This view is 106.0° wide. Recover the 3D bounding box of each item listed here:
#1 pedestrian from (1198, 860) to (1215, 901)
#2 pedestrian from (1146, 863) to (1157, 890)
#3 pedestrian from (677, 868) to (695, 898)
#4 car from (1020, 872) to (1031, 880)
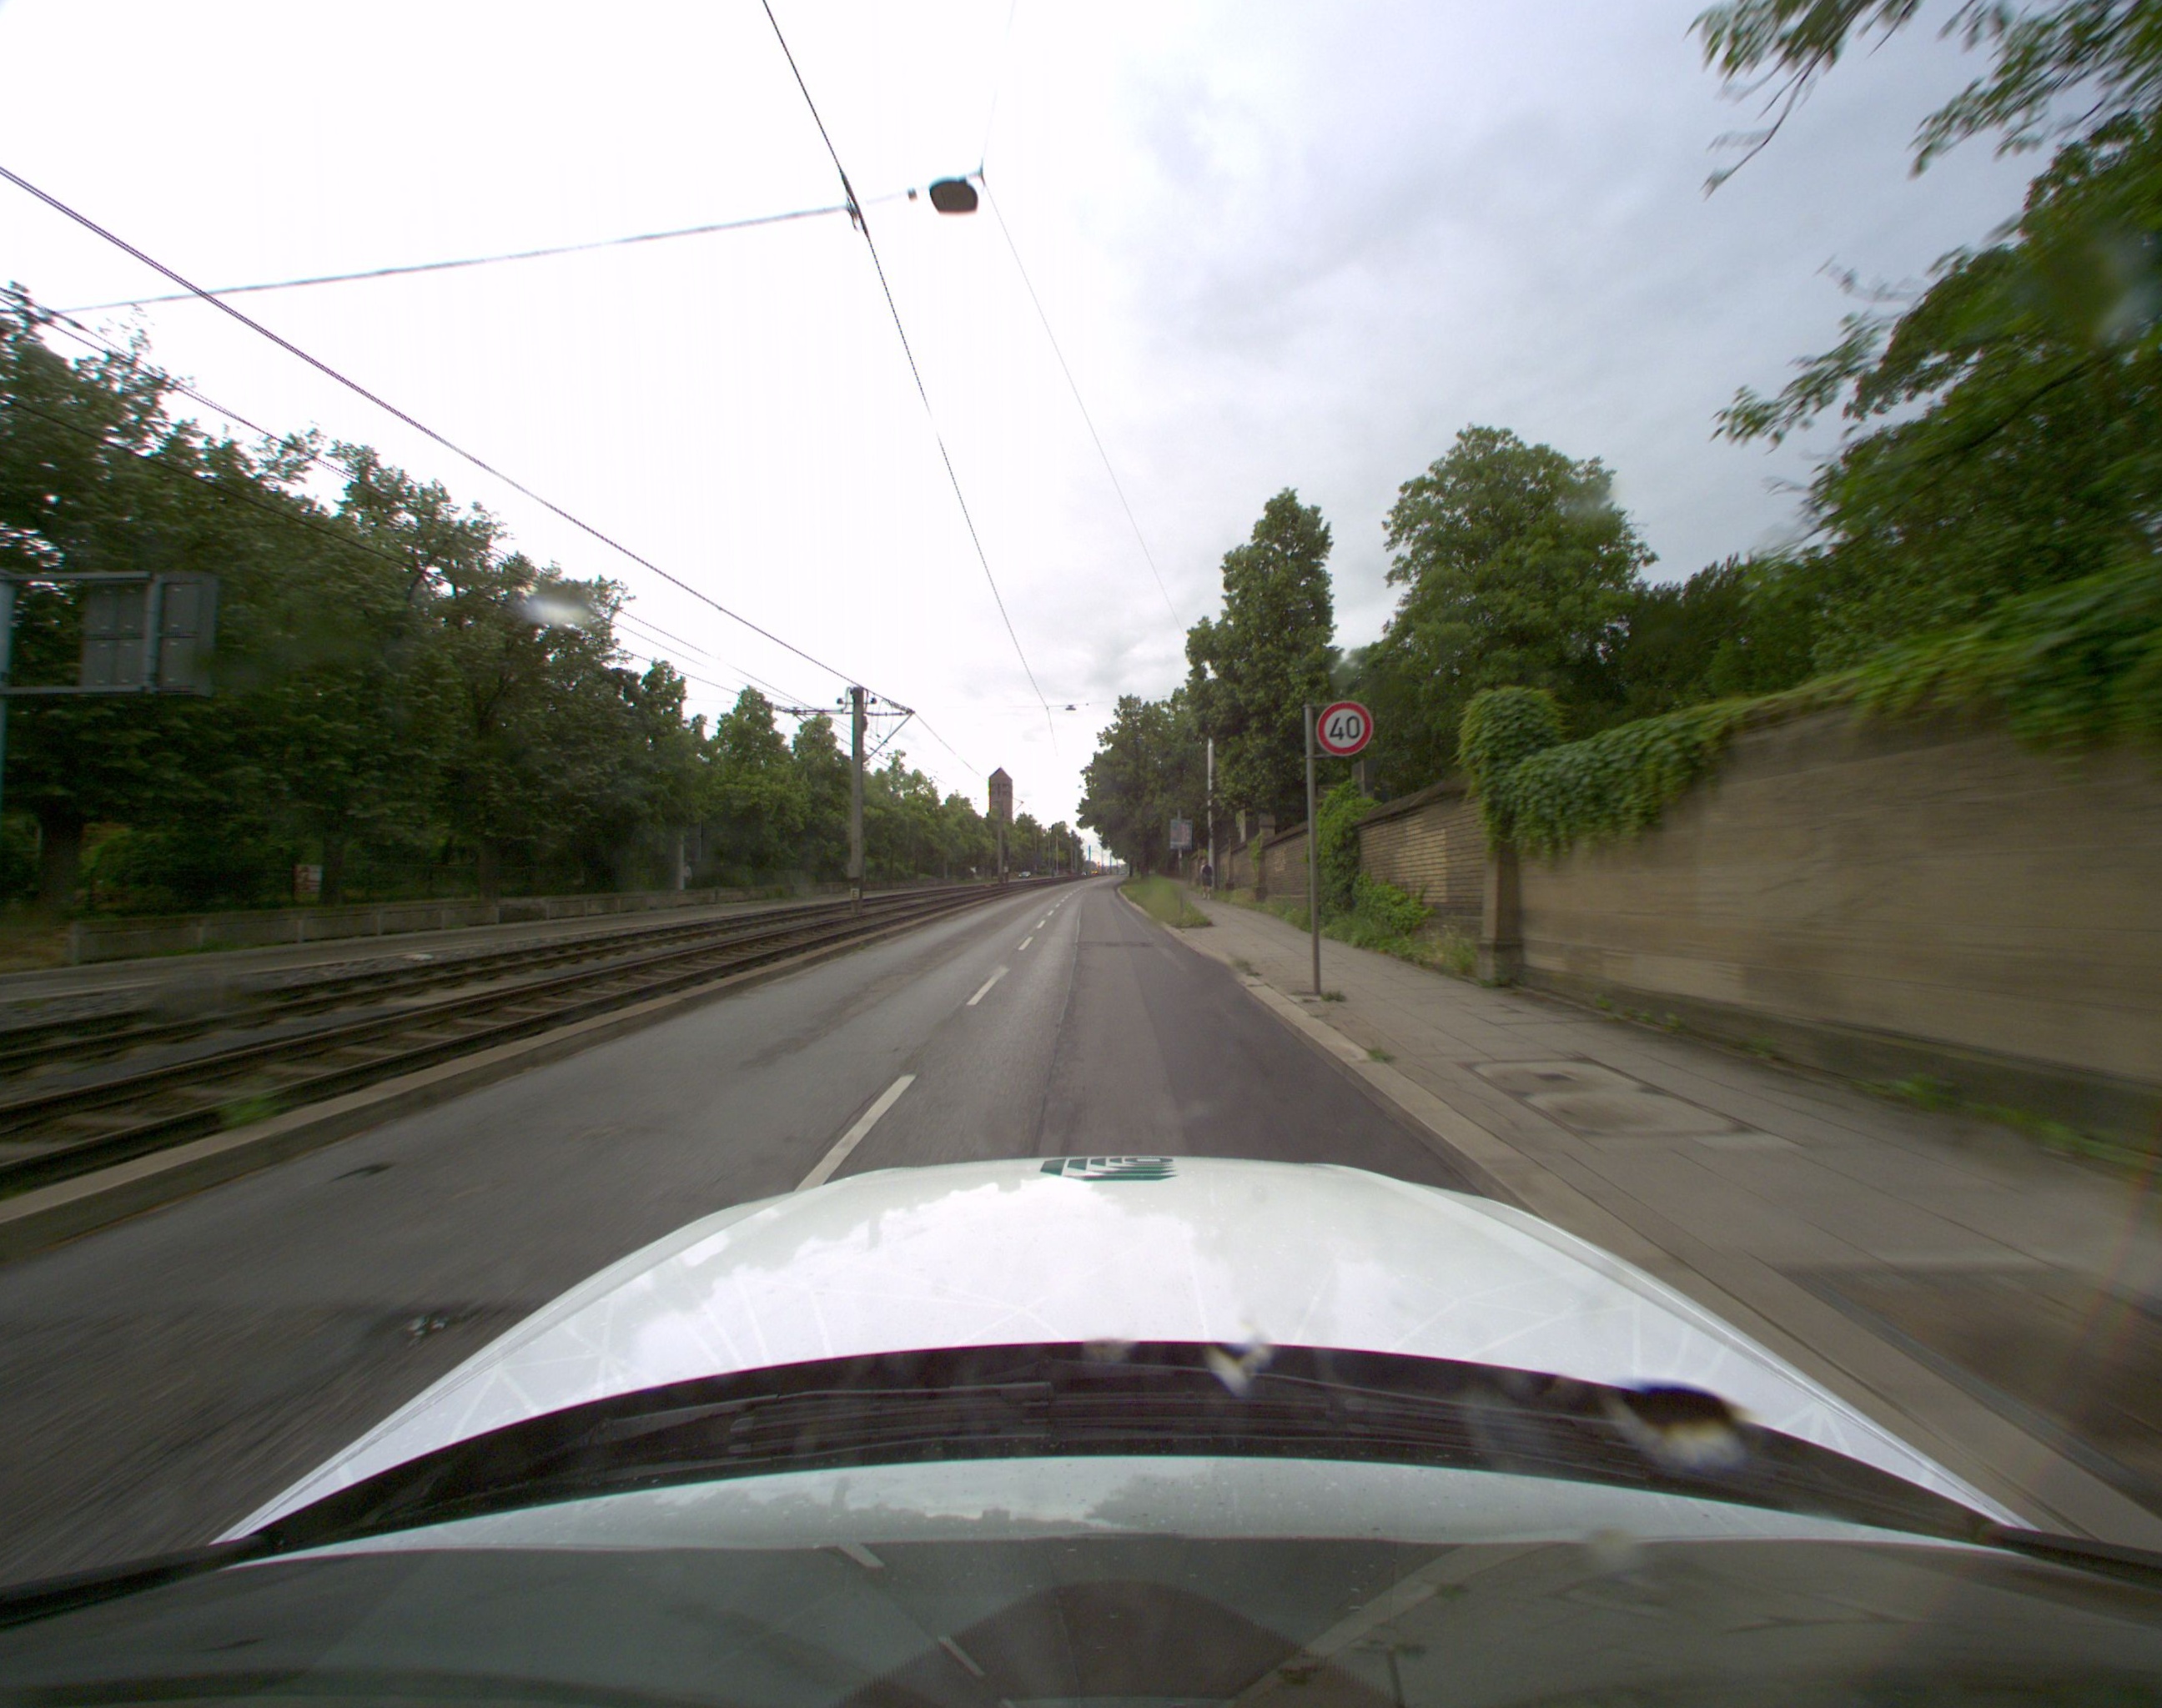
[{"bbox_3d":[5.728,1.216,37.224,0.717,1.850,0.784,0,-1,3],"label":"pedestrian"},{"bbox_3d":[4.533,1.430,52.300,0.717,1.687,0.729,0,-1,3],"label":"pedestrian"},{"bbox_3d":[-22.672,1.668,46.734,0.645,1.661,0.651,-3,0,3],"label":"pedestrian"},{"bbox_3d":[-11.428,4.450,167.080,1.787,1.510,3.851,-1,0,3],"label":"car"}]
